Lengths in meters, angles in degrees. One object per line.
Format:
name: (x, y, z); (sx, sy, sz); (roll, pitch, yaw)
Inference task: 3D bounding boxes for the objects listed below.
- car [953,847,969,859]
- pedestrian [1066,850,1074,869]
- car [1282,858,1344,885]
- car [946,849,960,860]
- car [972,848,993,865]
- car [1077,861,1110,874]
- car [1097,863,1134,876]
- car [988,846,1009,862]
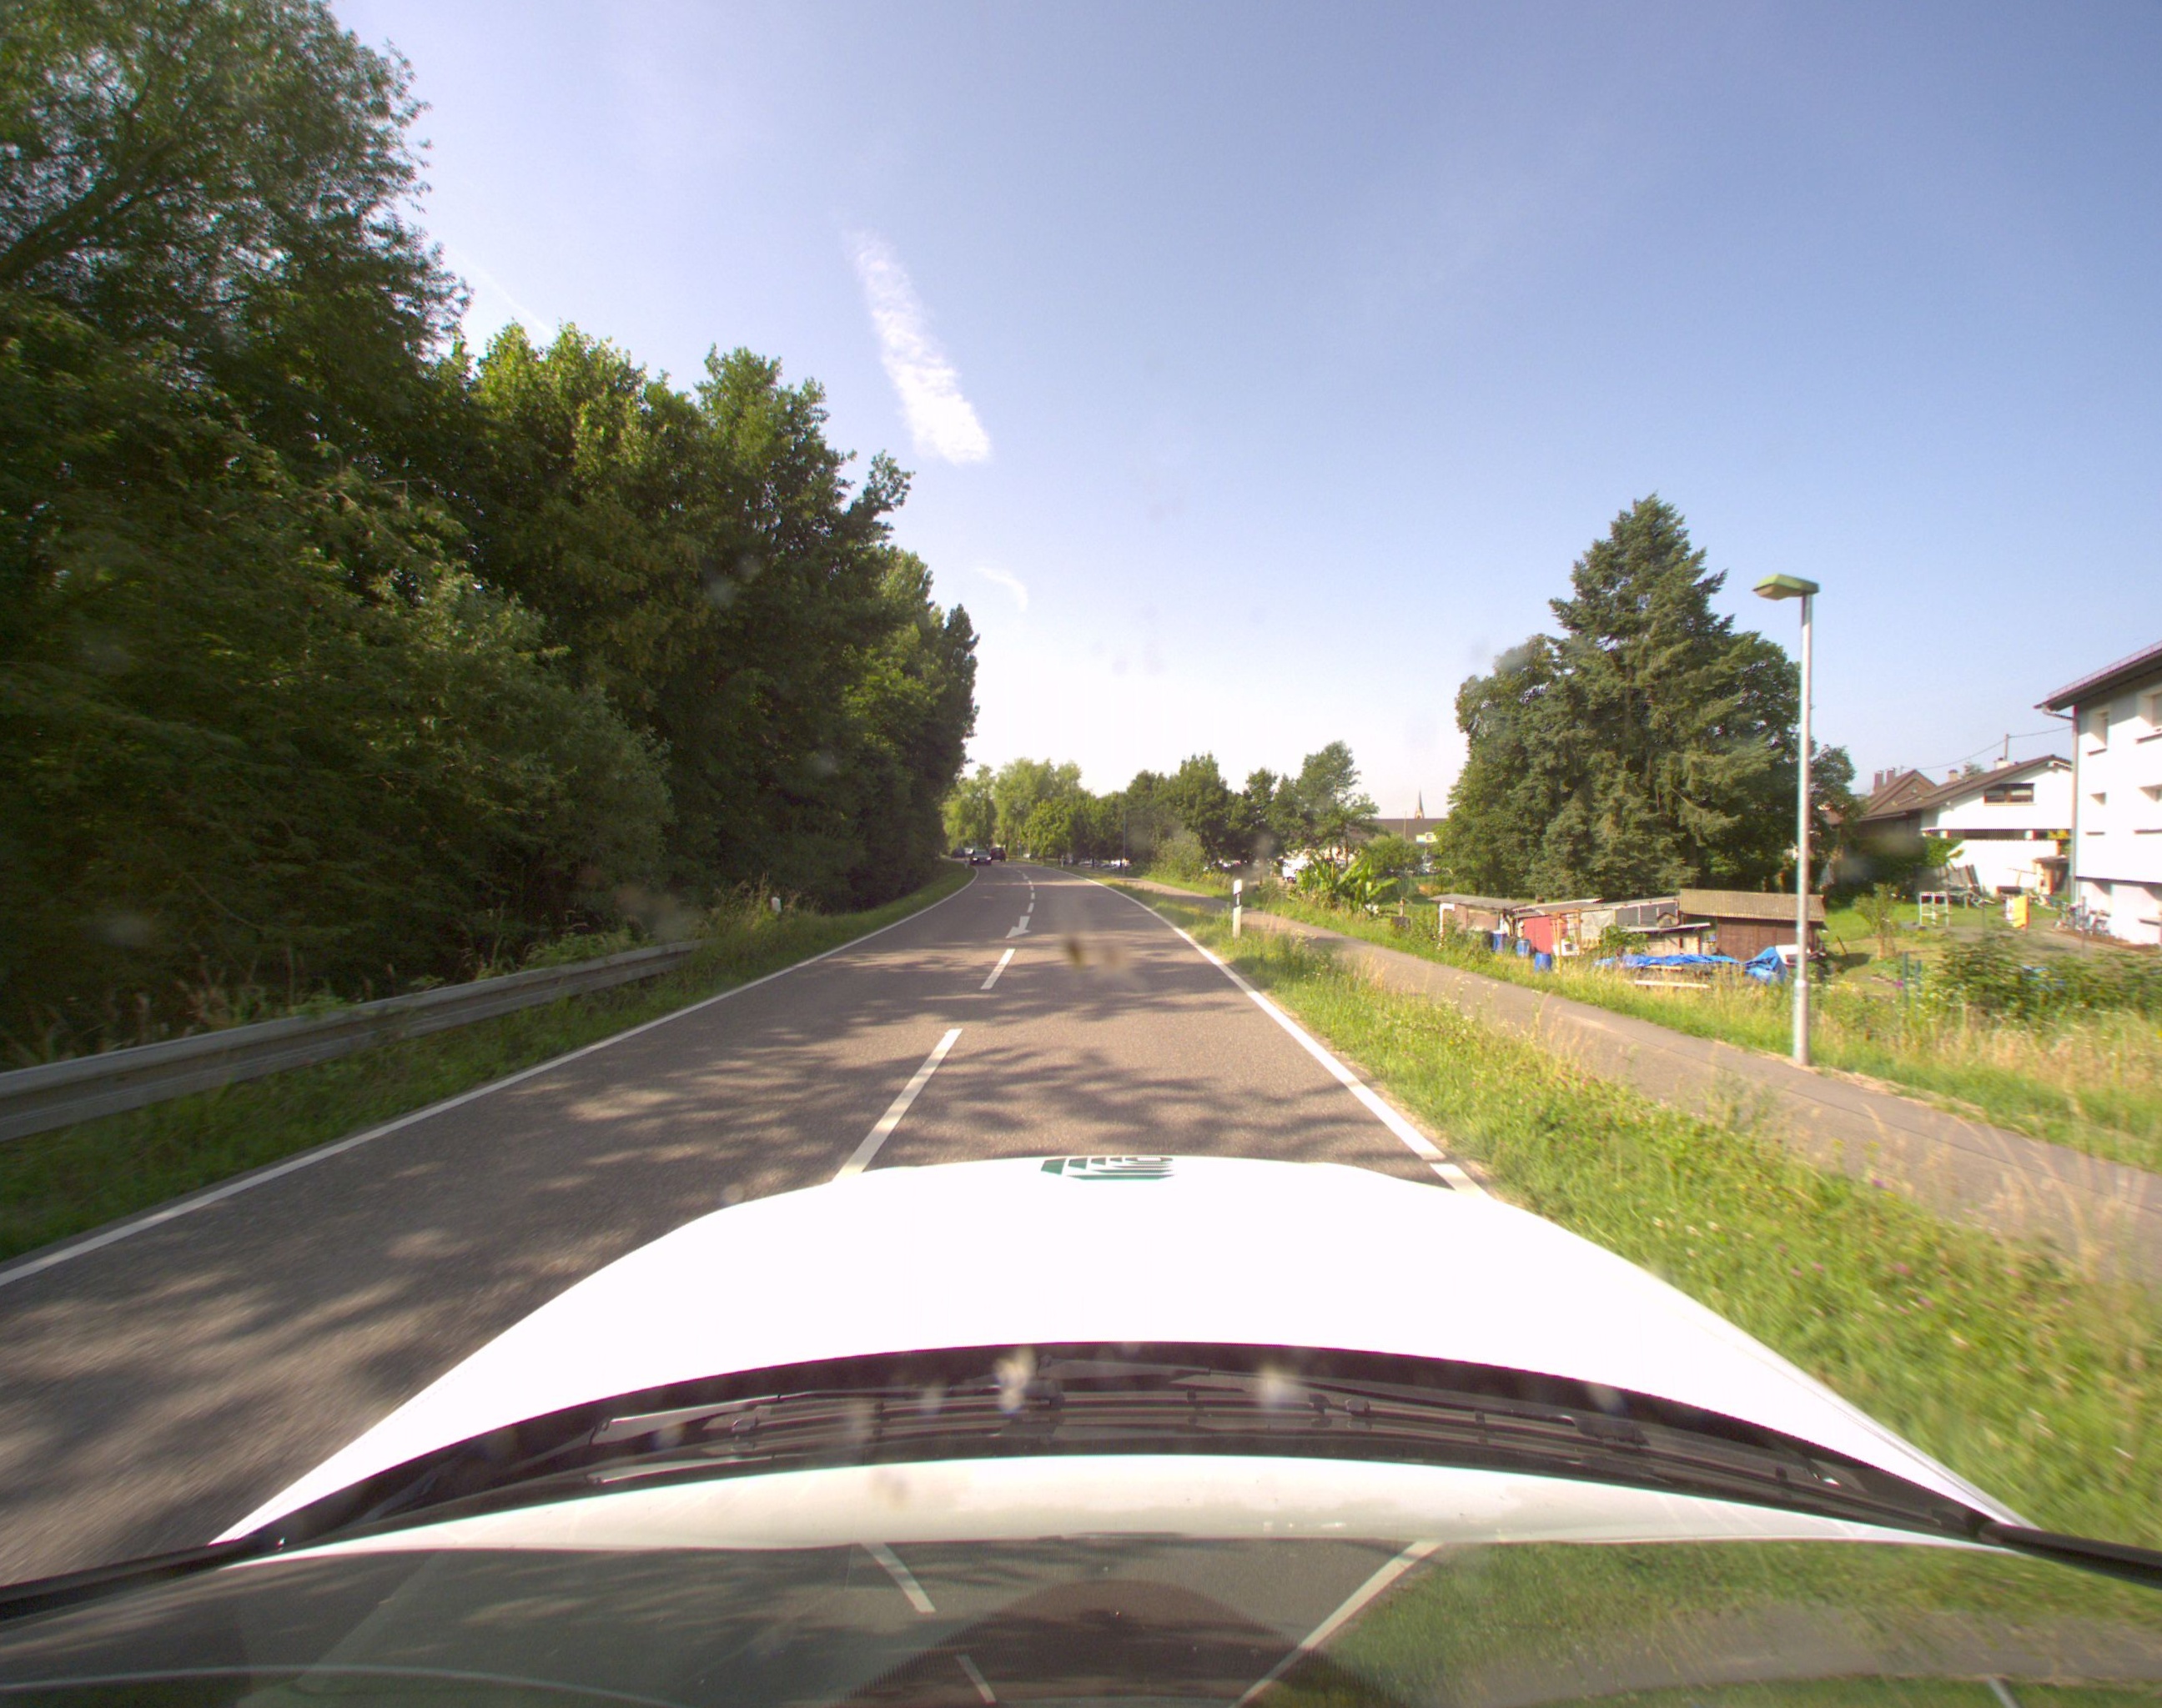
car: (-18.350, -0.144, 124.815); (2.008, 1.771, 3.980); (1, 1, -15)
pedestrian: (-1.037, 0.545, 78.789); (0.751, 1.775, 0.973); (0, 0, 1)
car: (23.942, 1.781, 84.219); (5.710, 2.667, 2.422); (0, 0, 38)
car: (-22.378, 0.080, 142.382); (2.001, 1.771, 3.994); (1, 1, -5)
car: (-9.596, 0.229, 79.083); (1.752, 1.474, 3.985); (1, 1, -11)
car: (1.683, 1.753, 109.131); (4.233, 1.679, 1.885); (0, 0, -9)
car: (4.131, 1.839, 98.130); (4.256, 1.471, 1.840); (0, 0, -6)
car: (-9.641, 0.013, 94.976); (1.927, 1.771, 3.982); (1, 1, -13)
